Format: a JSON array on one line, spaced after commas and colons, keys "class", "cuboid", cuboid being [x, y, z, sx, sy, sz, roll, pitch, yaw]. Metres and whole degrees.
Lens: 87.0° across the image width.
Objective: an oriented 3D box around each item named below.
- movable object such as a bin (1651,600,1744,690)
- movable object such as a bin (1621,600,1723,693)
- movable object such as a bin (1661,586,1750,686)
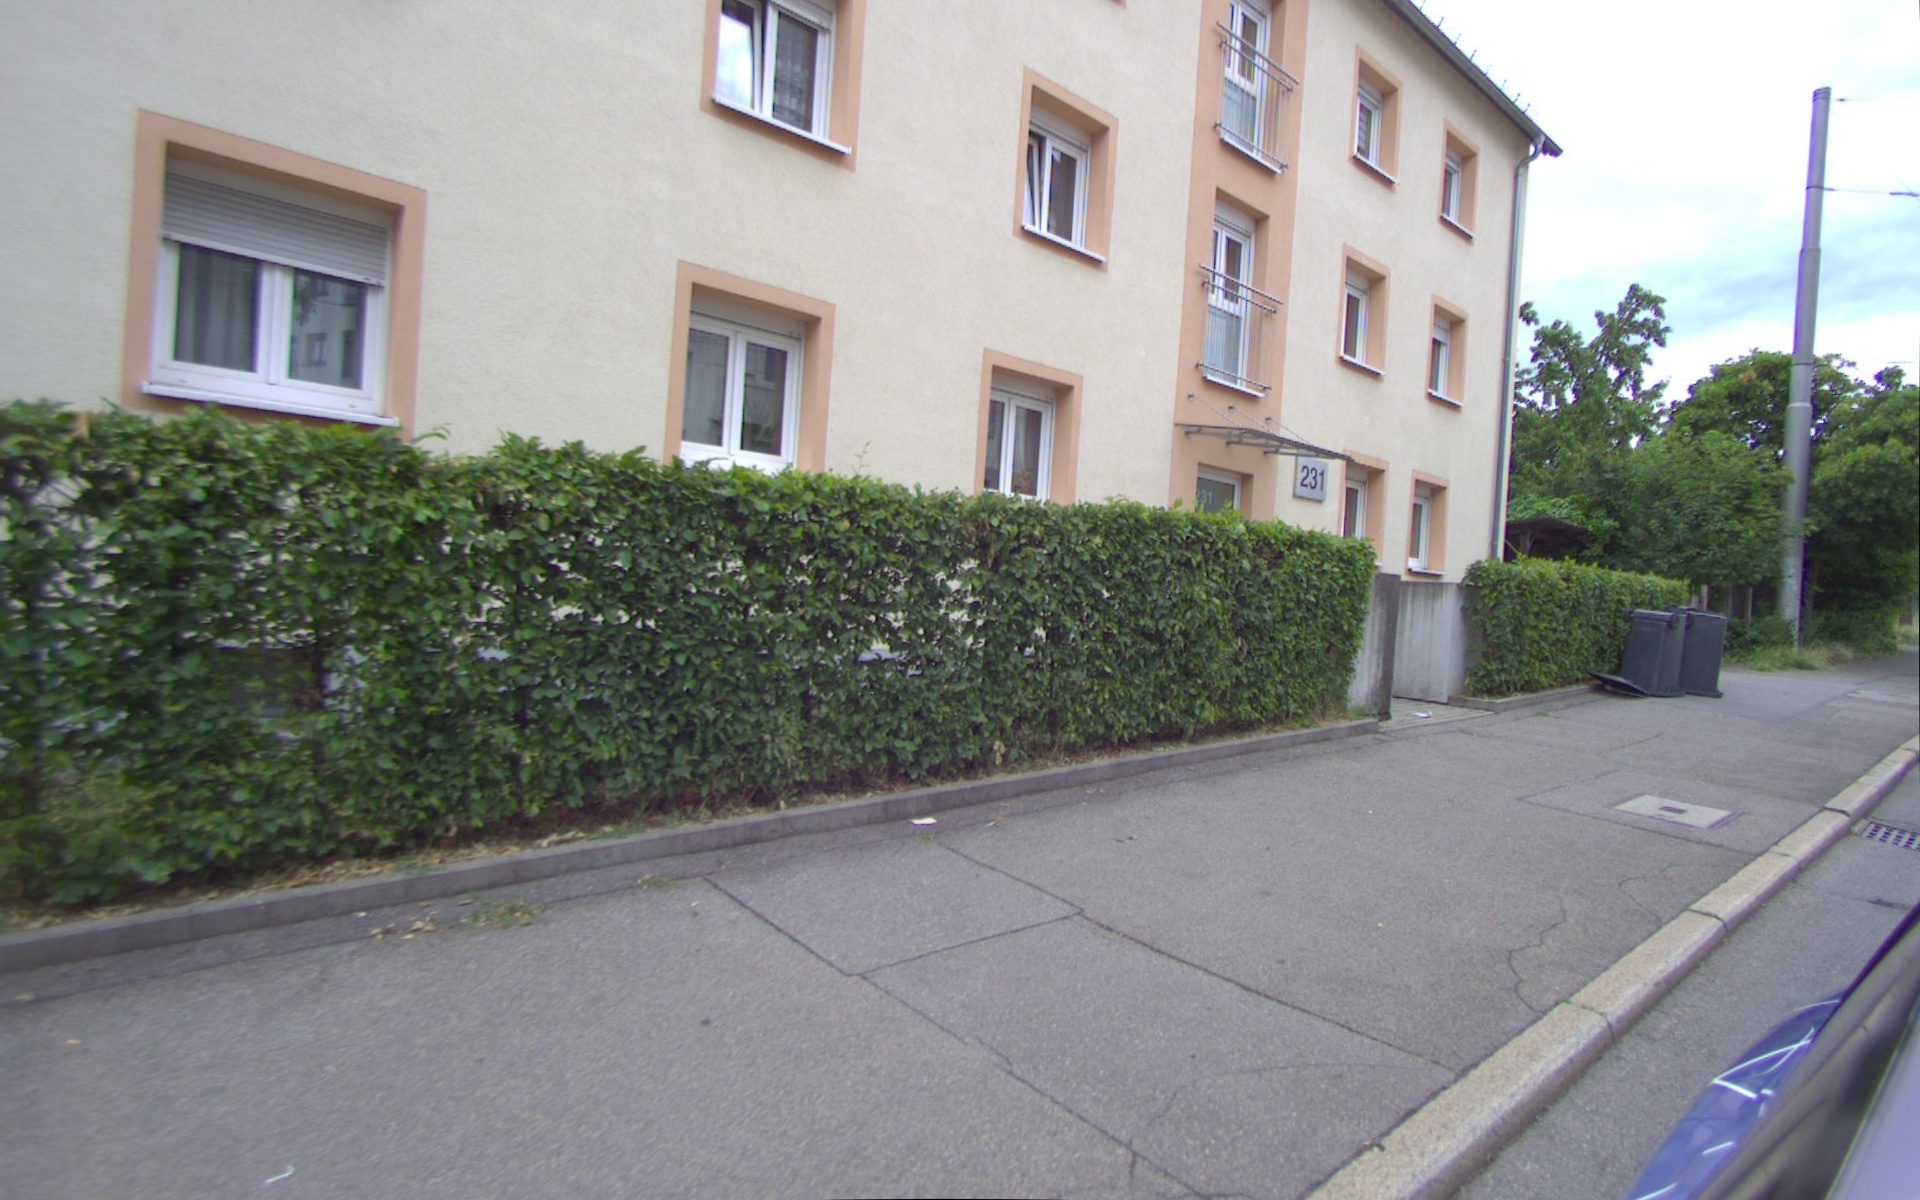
[{"class": "movable object such as a bin", "cuboid": [9.264, 0.542, 12.711, 0.776, 1.024, 0.792, 0, 3, -45]}, {"class": "movable object such as a bin", "cuboid": [8.595, 0.540, 12.226, 0.775, 1.024, 0.794, 0, 3, -39]}, {"class": "movable object such as a bin", "cuboid": [9.810, 0.449, 13.319, 0.776, 1.233, 0.792, 0, 3, -45]}]
